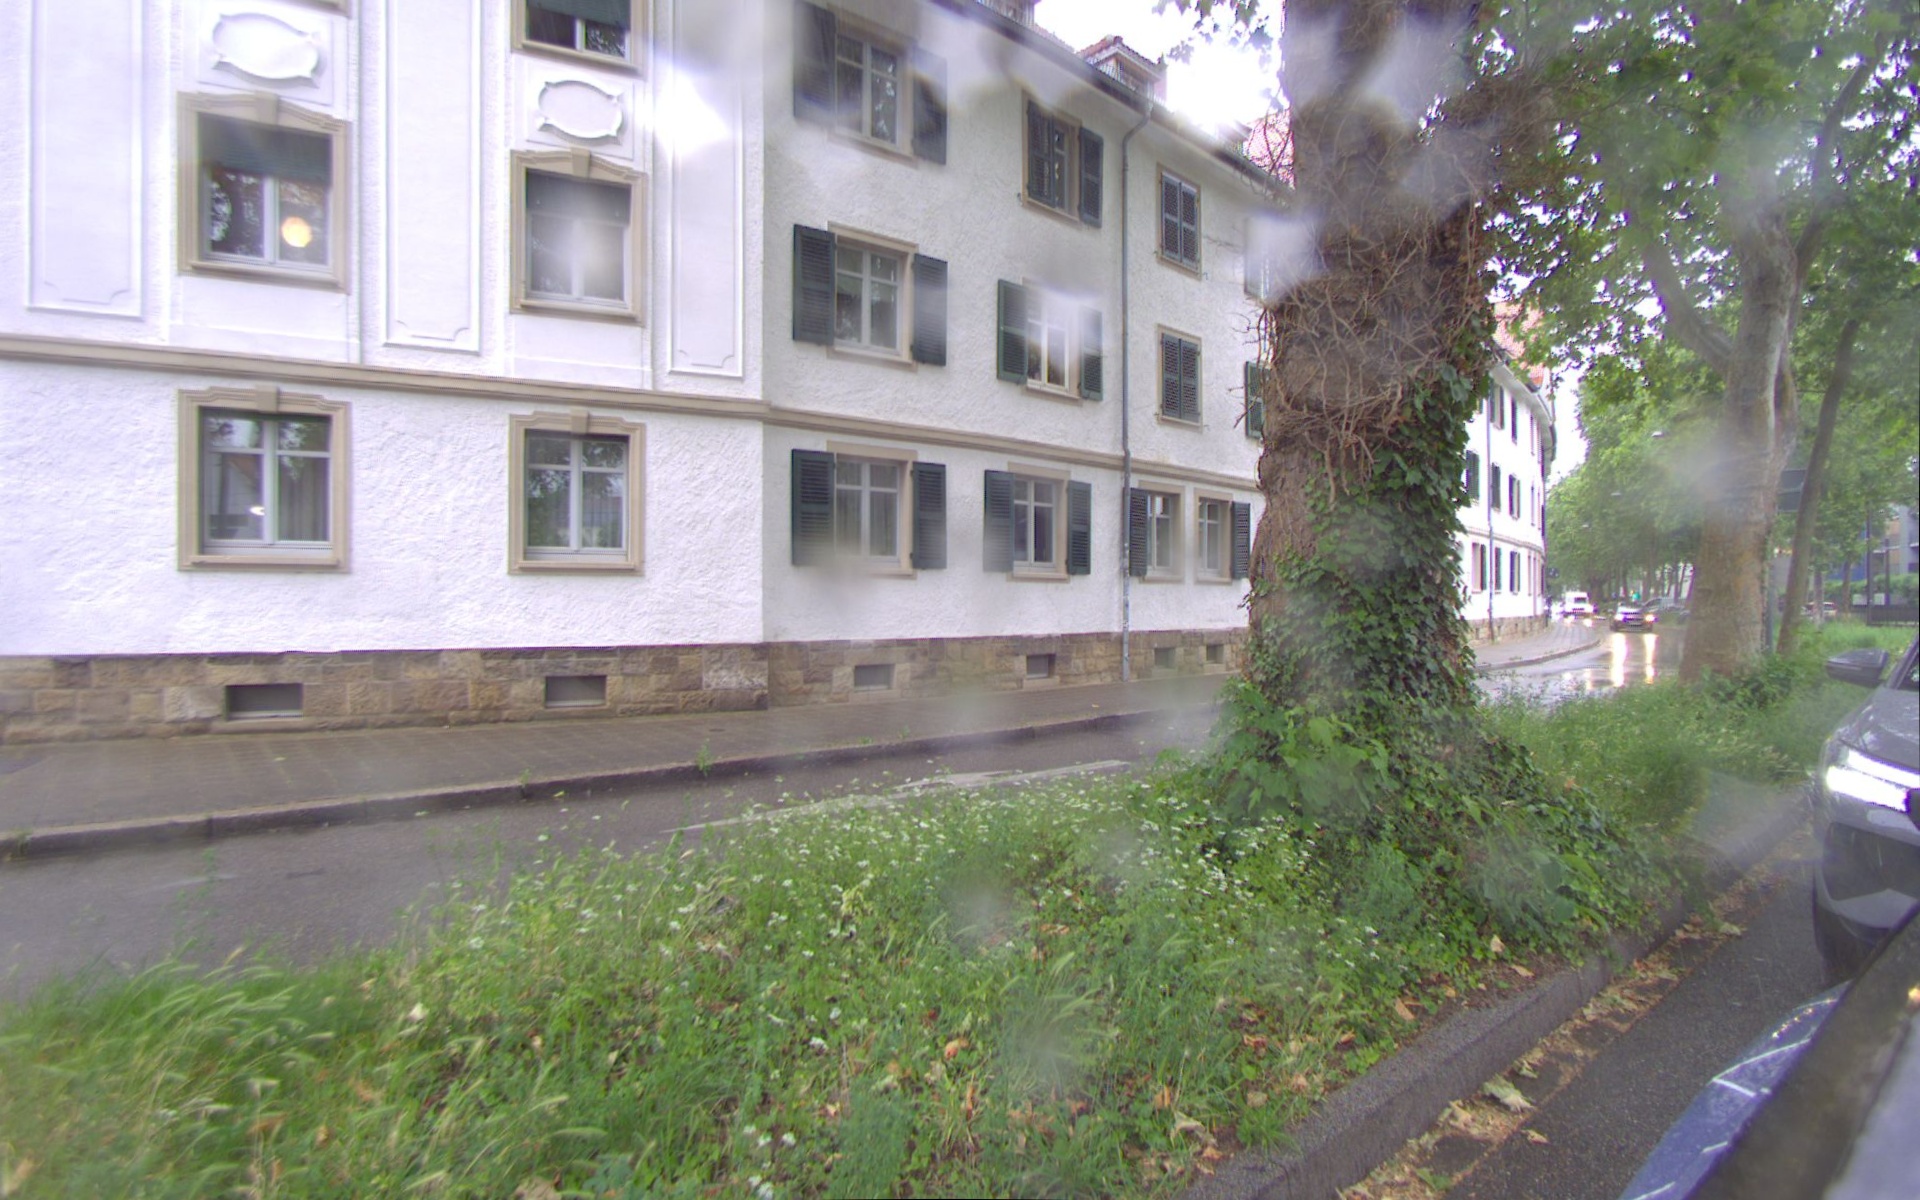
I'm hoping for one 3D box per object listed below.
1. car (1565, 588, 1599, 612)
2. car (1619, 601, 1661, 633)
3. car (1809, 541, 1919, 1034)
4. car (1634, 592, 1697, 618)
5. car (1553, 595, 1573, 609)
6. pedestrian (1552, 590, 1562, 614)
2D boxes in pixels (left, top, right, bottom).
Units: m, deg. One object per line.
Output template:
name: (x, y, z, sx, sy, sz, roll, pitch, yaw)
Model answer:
car: (60.771, -0.042, 98.998, 2.173, 2.292, 5.366, 0, 0, 24)
car: (36.077, 0.867, 53.739, 1.745, 1.589, 4.183, 0, 0, 34)
car: (5.154, 0.622, 4.317, 4.039, 1.662, 1.913, 0, 0, -44)
car: (55.922, 0.398, 80.300, 3.969, 2.039, 1.977, 0, -1, 32)
car: (70.416, 0.222, 118.212, 1.816, 1.545, 3.959, 0, 0, 29)
pedestrian: (45.604, 0.173, 77.346, 0.668, 1.845, 0.672, 0, 0, 31)
